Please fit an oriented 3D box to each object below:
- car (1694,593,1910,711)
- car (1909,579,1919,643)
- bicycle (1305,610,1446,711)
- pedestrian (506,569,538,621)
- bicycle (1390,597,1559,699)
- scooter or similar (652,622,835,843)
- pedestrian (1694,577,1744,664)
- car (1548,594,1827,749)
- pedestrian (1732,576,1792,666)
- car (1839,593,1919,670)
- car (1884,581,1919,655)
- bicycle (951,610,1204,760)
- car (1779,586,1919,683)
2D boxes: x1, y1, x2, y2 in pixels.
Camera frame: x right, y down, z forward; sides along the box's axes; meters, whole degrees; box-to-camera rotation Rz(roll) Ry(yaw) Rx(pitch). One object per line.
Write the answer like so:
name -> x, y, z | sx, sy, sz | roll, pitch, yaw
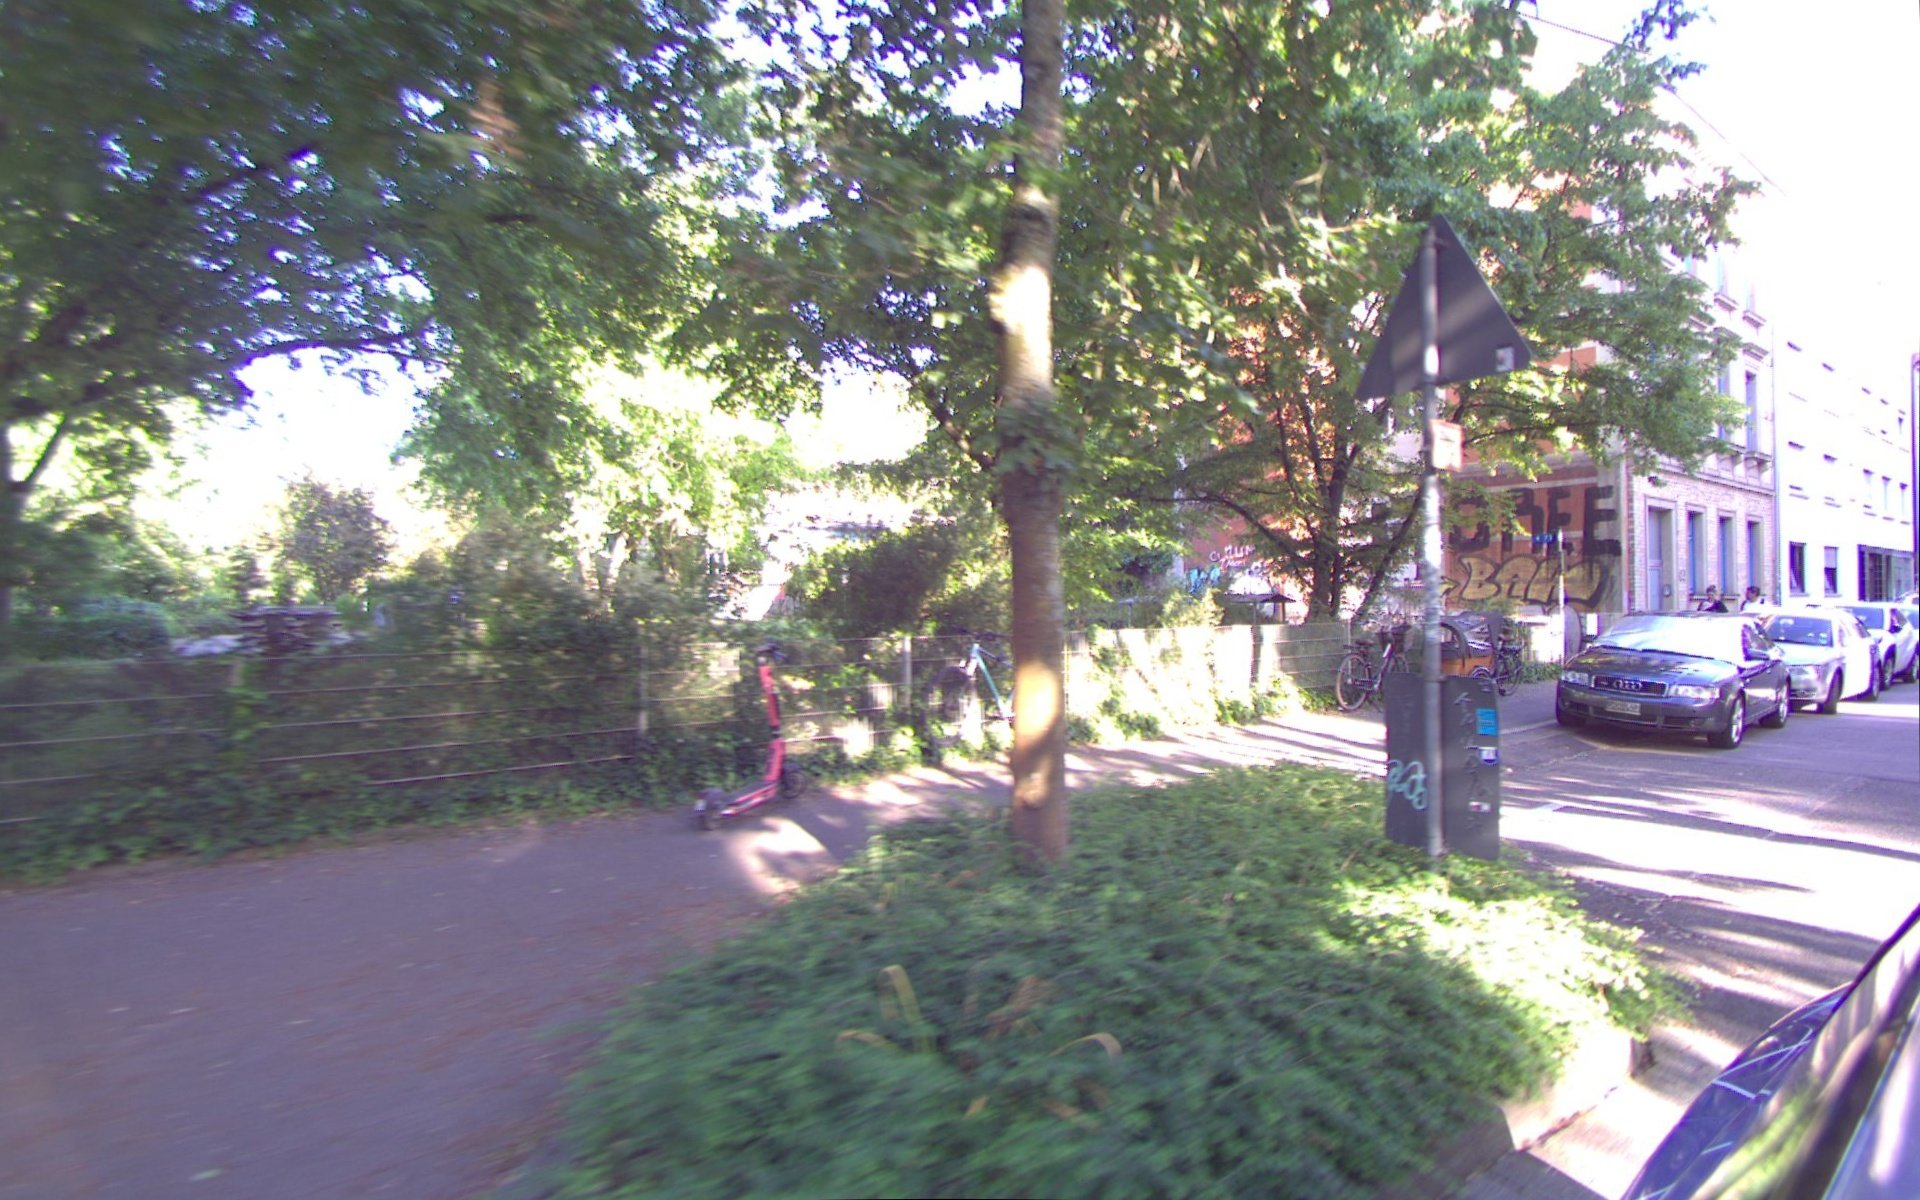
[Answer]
car -> 12.893, 0.675, 15.412 | 4.274, 1.512, 1.663 | -1, 2, -38
car -> 27.570, 0.302, 27.564 | 4.250, 1.687, 1.886 | -1, 3, -39
bicycle -> 5.499, 0.748, 13.349 | 1.944, 1.216, 0.849 | 0, 0, -37
pedestrian -> -17.273, -0.198, 39.957 | 0.896, 2.039, 0.747 | 0, 0, 9
bicycle -> 7.586, 0.644, 14.892 | 2.283, 1.318, 1.295 | -1, 2, -36
scooter or similar -> -1.434, 0.823, 6.953 | 0.539, 1.277, 1.463 | 1, 1, 20
pedestrian -> 15.529, 0.405, 20.715 | 0.693, 1.730, 0.599 | 0, 3, -39
car -> 8.998, 0.718, 12.380 | 4.335, 1.512, 1.725 | -1, 2, -40
pedestrian -> 16.040, 0.393, 20.245 | 0.739, 1.730, 0.712 | 0, 3, -39
car -> 20.076, 0.614, 21.469 | 3.933, 1.469, 1.596 | -1, 2, -41
car -> 23.783, 0.408, 24.173 | 4.248, 1.687, 1.771 | 0, 1, -37
bicycle -> 1.227, 0.759, 10.054 | 2.642, 1.284, 0.849 | 0, 0, -37
car -> 16.660, 0.560, 18.705 | 3.695, 1.605, 1.597 | -1, 1, -39
